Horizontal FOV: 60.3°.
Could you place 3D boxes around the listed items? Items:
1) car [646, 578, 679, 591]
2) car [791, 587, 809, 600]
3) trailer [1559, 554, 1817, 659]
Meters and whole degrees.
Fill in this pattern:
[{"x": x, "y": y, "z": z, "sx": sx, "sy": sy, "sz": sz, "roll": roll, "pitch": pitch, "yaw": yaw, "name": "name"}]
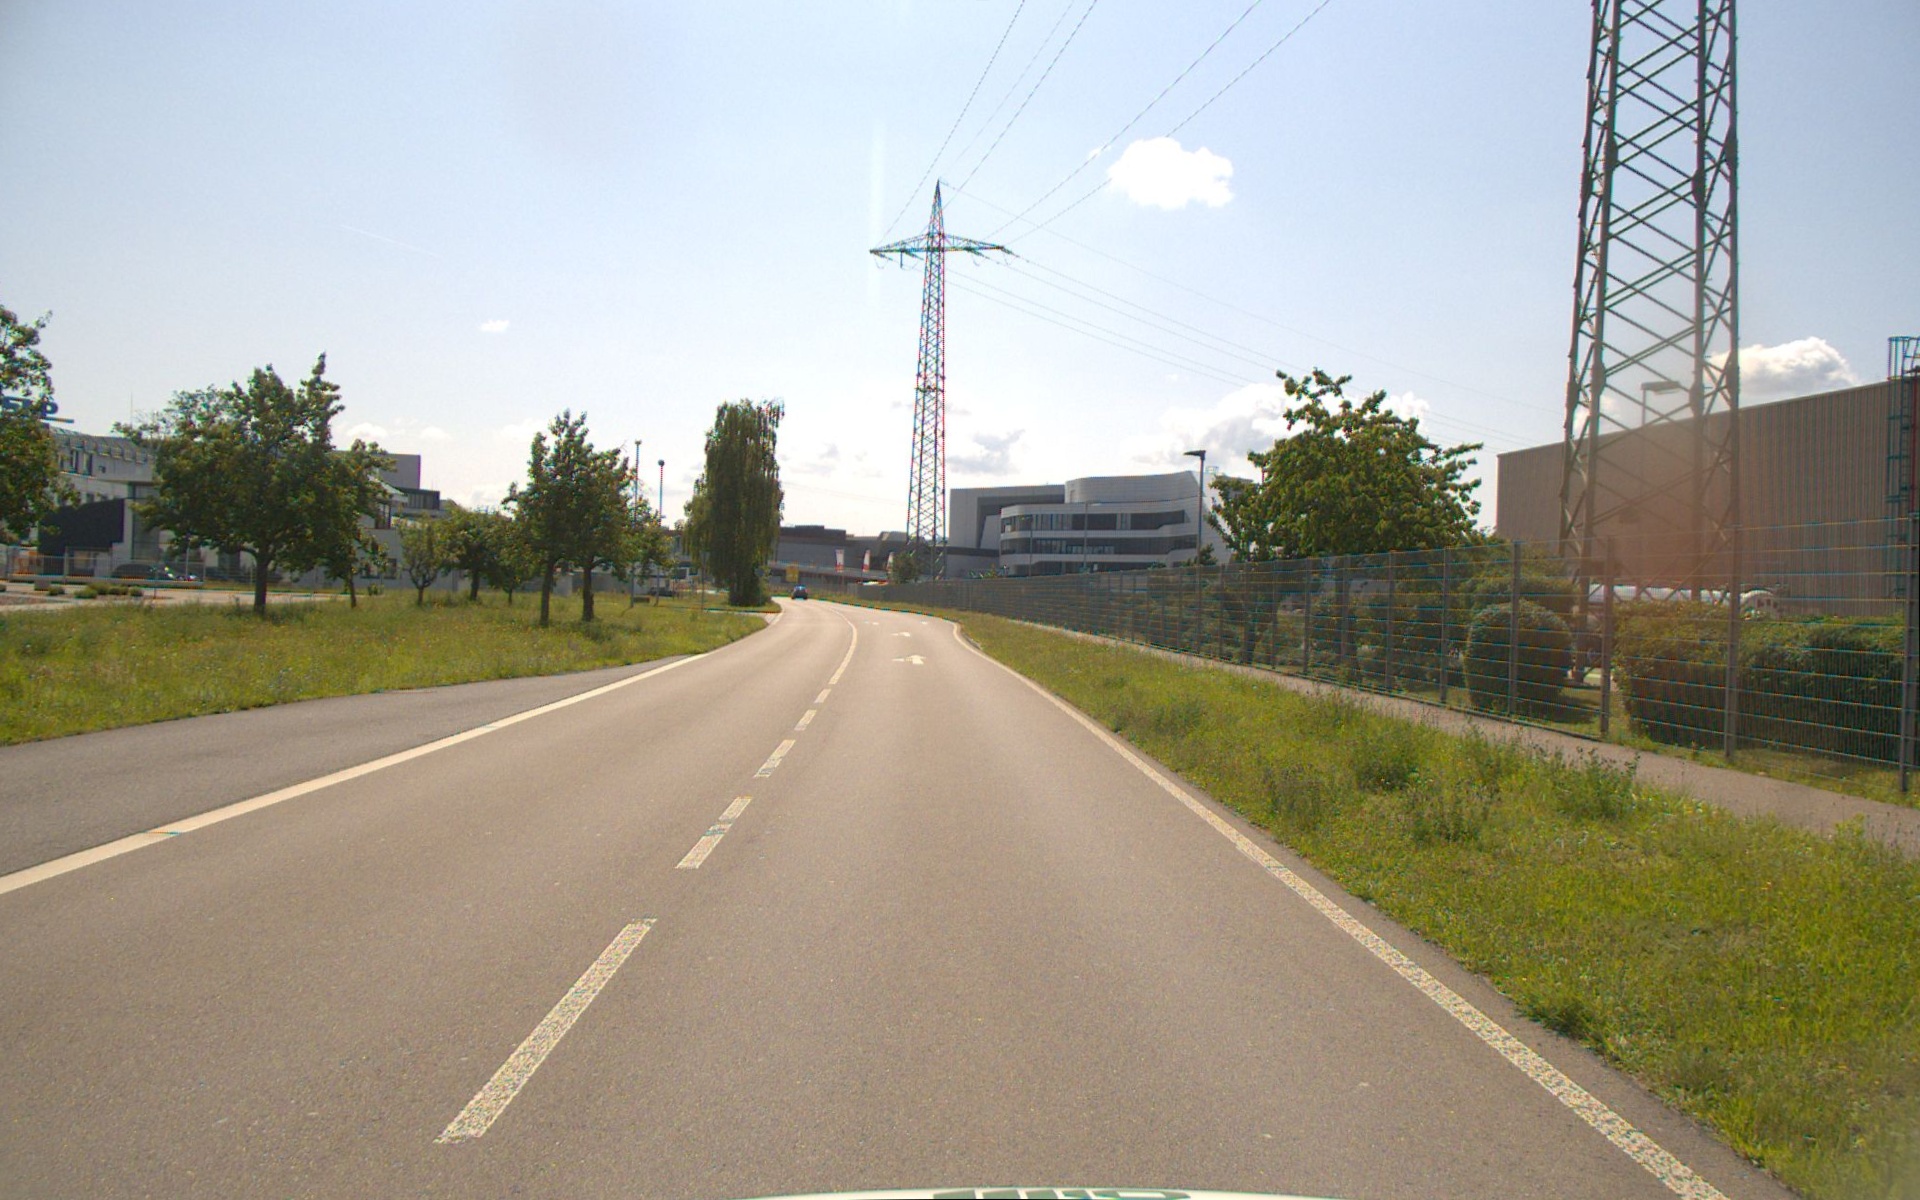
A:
[{"x": -35.811, "y": -1.870, "z": 199.180, "sx": 3.913, "sy": 1.601, "sz": 1.996, "roll": 1, "pitch": 1, "yaw": -9, "name": "car"}, {"x": -19.413, "y": -0.797, "z": 200.519, "sx": 1.973, "sy": 1.534, "sz": 3.996, "roll": 2, "pitch": 0, "yaw": -5, "name": "car"}, {"x": 28.806, "y": 0.167, "z": 66.471, "sx": 3.523, "sy": 3.800, "sz": 12.216, "roll": 1, "pitch": 1, "yaw": -8, "name": "trailer"}]
